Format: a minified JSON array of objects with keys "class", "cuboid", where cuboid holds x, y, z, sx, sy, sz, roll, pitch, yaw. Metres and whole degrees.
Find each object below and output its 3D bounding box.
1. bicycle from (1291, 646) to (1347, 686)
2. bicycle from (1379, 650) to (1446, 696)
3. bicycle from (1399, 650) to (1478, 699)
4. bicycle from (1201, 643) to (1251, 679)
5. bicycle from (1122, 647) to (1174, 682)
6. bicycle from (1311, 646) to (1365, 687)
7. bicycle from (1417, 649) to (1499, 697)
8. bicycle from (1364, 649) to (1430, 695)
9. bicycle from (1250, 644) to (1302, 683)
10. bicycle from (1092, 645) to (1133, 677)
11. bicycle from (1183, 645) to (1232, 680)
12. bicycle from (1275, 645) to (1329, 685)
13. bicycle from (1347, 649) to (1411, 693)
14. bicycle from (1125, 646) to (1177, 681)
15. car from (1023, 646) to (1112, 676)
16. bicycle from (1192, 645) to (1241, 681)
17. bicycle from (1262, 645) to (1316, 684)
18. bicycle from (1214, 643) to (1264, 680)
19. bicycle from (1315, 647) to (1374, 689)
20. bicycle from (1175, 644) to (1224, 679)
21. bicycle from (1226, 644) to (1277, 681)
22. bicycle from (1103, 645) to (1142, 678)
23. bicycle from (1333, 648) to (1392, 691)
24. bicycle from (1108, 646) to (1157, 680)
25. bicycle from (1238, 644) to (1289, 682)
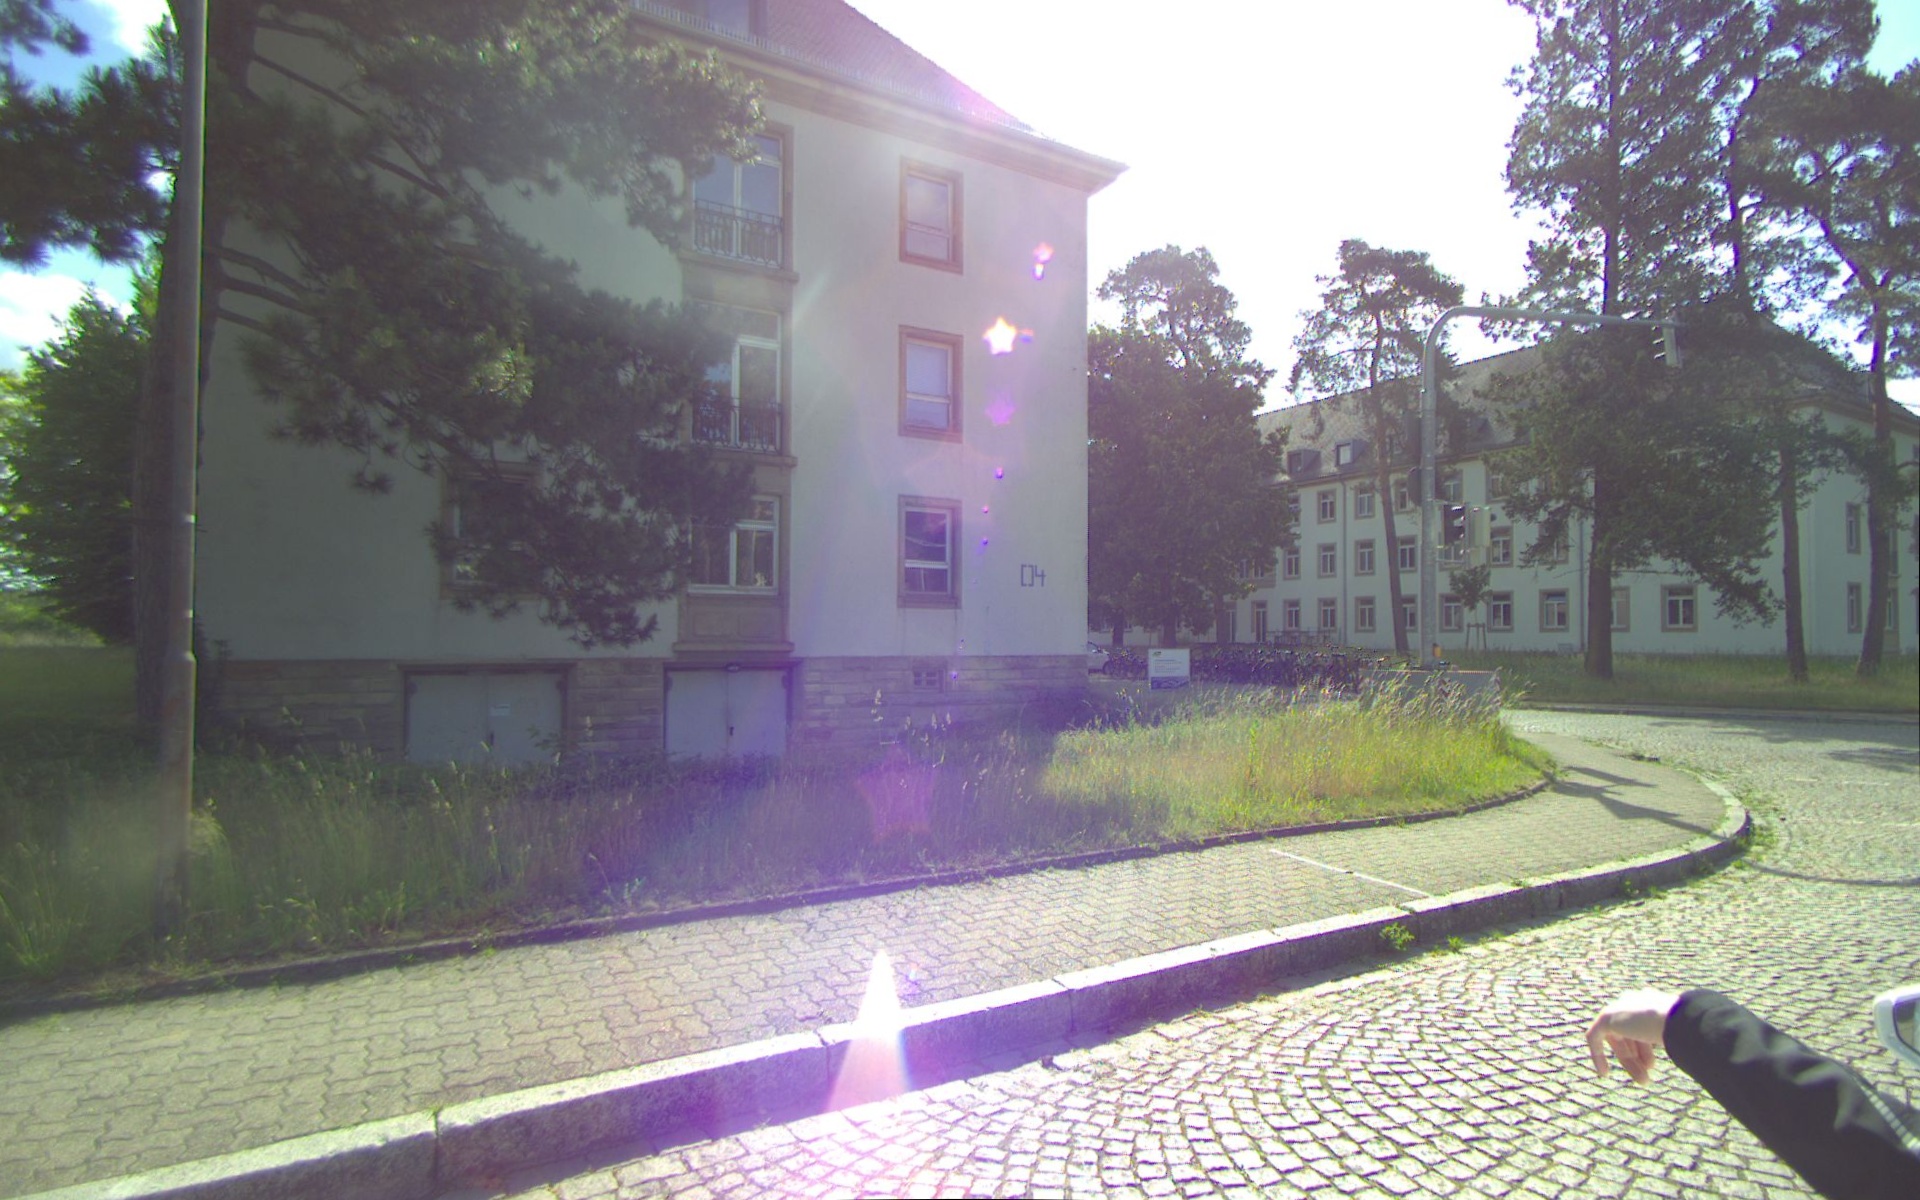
[{"class":"bicycle","cuboid":[11.364,2.079,31.772,1.993,1.236,0.511,1,-2,-31]},{"class":"bicycle","cuboid":[12.695,2.021,28.167,2.090,1.236,0.630,1,-2,-31]},{"class":"bicycle","cuboid":[12.683,1.946,26.689,0.627,1.236,1.853,1,-2,-30]},{"class":"bicycle","cuboid":[9.328,2.114,35.202,1.915,1.236,0.511,1,-2,-31]},{"class":"bicycle","cuboid":[6.792,2.311,36.320,1.794,1.236,0.515,-1,-2,24]},{"class":"bicycle","cuboid":[11.852,2.079,31.470,1.878,1.236,0.545,1,-2,-31]},{"class":"bicycle","cuboid":[13.337,1.939,26.968,0.627,1.236,1.935,1,-2,-30]},{"class":"bicycle","cuboid":[12.446,2.028,28.580,2.100,1.236,0.630,1,-2,-31]},{"class":"bicycle","cuboid":[10.446,2.088,33.190,1.932,1.236,0.511,1,-2,-31]},{"class":"bicycle","cuboid":[6.067,2.400,39.933,1.813,1.236,0.510,2,-3,-39]},{"class":"bicycle","cuboid":[8.883,2.216,35.973,1.915,1.236,0.511,1,-2,-31]},{"class":"bicycle","cuboid":[11.001,2.085,32.308,1.954,1.236,0.511,1,-2,-31]},{"class":"bicycle","cuboid":[12.149,2.034,29.106,2.080,1.236,0.630,1,-2,-31]},{"class":"bicycle","cuboid":[7.022,2.320,36.927,1.794,1.236,0.515,-1,-2,24]},{"class":"car","cuboid":[4.561,2.566,42.551,3.550,1.227,1.504,1,-3,-29]},{"class":"bicycle","cuboid":[9.098,2.212,35.602,1.915,1.236,0.511,1,-2,-31]},{"class":"bicycle","cuboid":[10.737,2.086,32.752,1.954,1.236,0.511,1,-2,-31]},{"class":"bicycle","cuboid":[9.643,2.108,34.680,1.915,1.236,0.511,1,-2,-31]},{"class":"bicycle","cuboid":[11.783,2.065,30.758,2.006,1.236,0.576,1,-2,-31]},{"class":"bicycle","cuboid":[8.665,2.221,36.364,1.915,1.236,0.511,1,-2,-31]},{"class":"bicycle","cuboid":[9.924,2.101,34.158,1.915,1.236,0.511,1,-2,-31]},{"class":"bicycle","cuboid":[6.384,2.394,39.417,1.815,1.236,0.509,2,-3,-42]},{"class":"bicycle","cuboid":[12.047,2.052,30.044,1.967,1.236,0.569,1,-2,-31]},{"class":"bicycle","cuboid":[6.512,2.374,37.917,1.792,1.236,0.516,0,-2,6]},{"class":"bicycle","cuboid":[10.178,2.094,33.675,1.915,1.236,0.511,1,-2,-31]}]
